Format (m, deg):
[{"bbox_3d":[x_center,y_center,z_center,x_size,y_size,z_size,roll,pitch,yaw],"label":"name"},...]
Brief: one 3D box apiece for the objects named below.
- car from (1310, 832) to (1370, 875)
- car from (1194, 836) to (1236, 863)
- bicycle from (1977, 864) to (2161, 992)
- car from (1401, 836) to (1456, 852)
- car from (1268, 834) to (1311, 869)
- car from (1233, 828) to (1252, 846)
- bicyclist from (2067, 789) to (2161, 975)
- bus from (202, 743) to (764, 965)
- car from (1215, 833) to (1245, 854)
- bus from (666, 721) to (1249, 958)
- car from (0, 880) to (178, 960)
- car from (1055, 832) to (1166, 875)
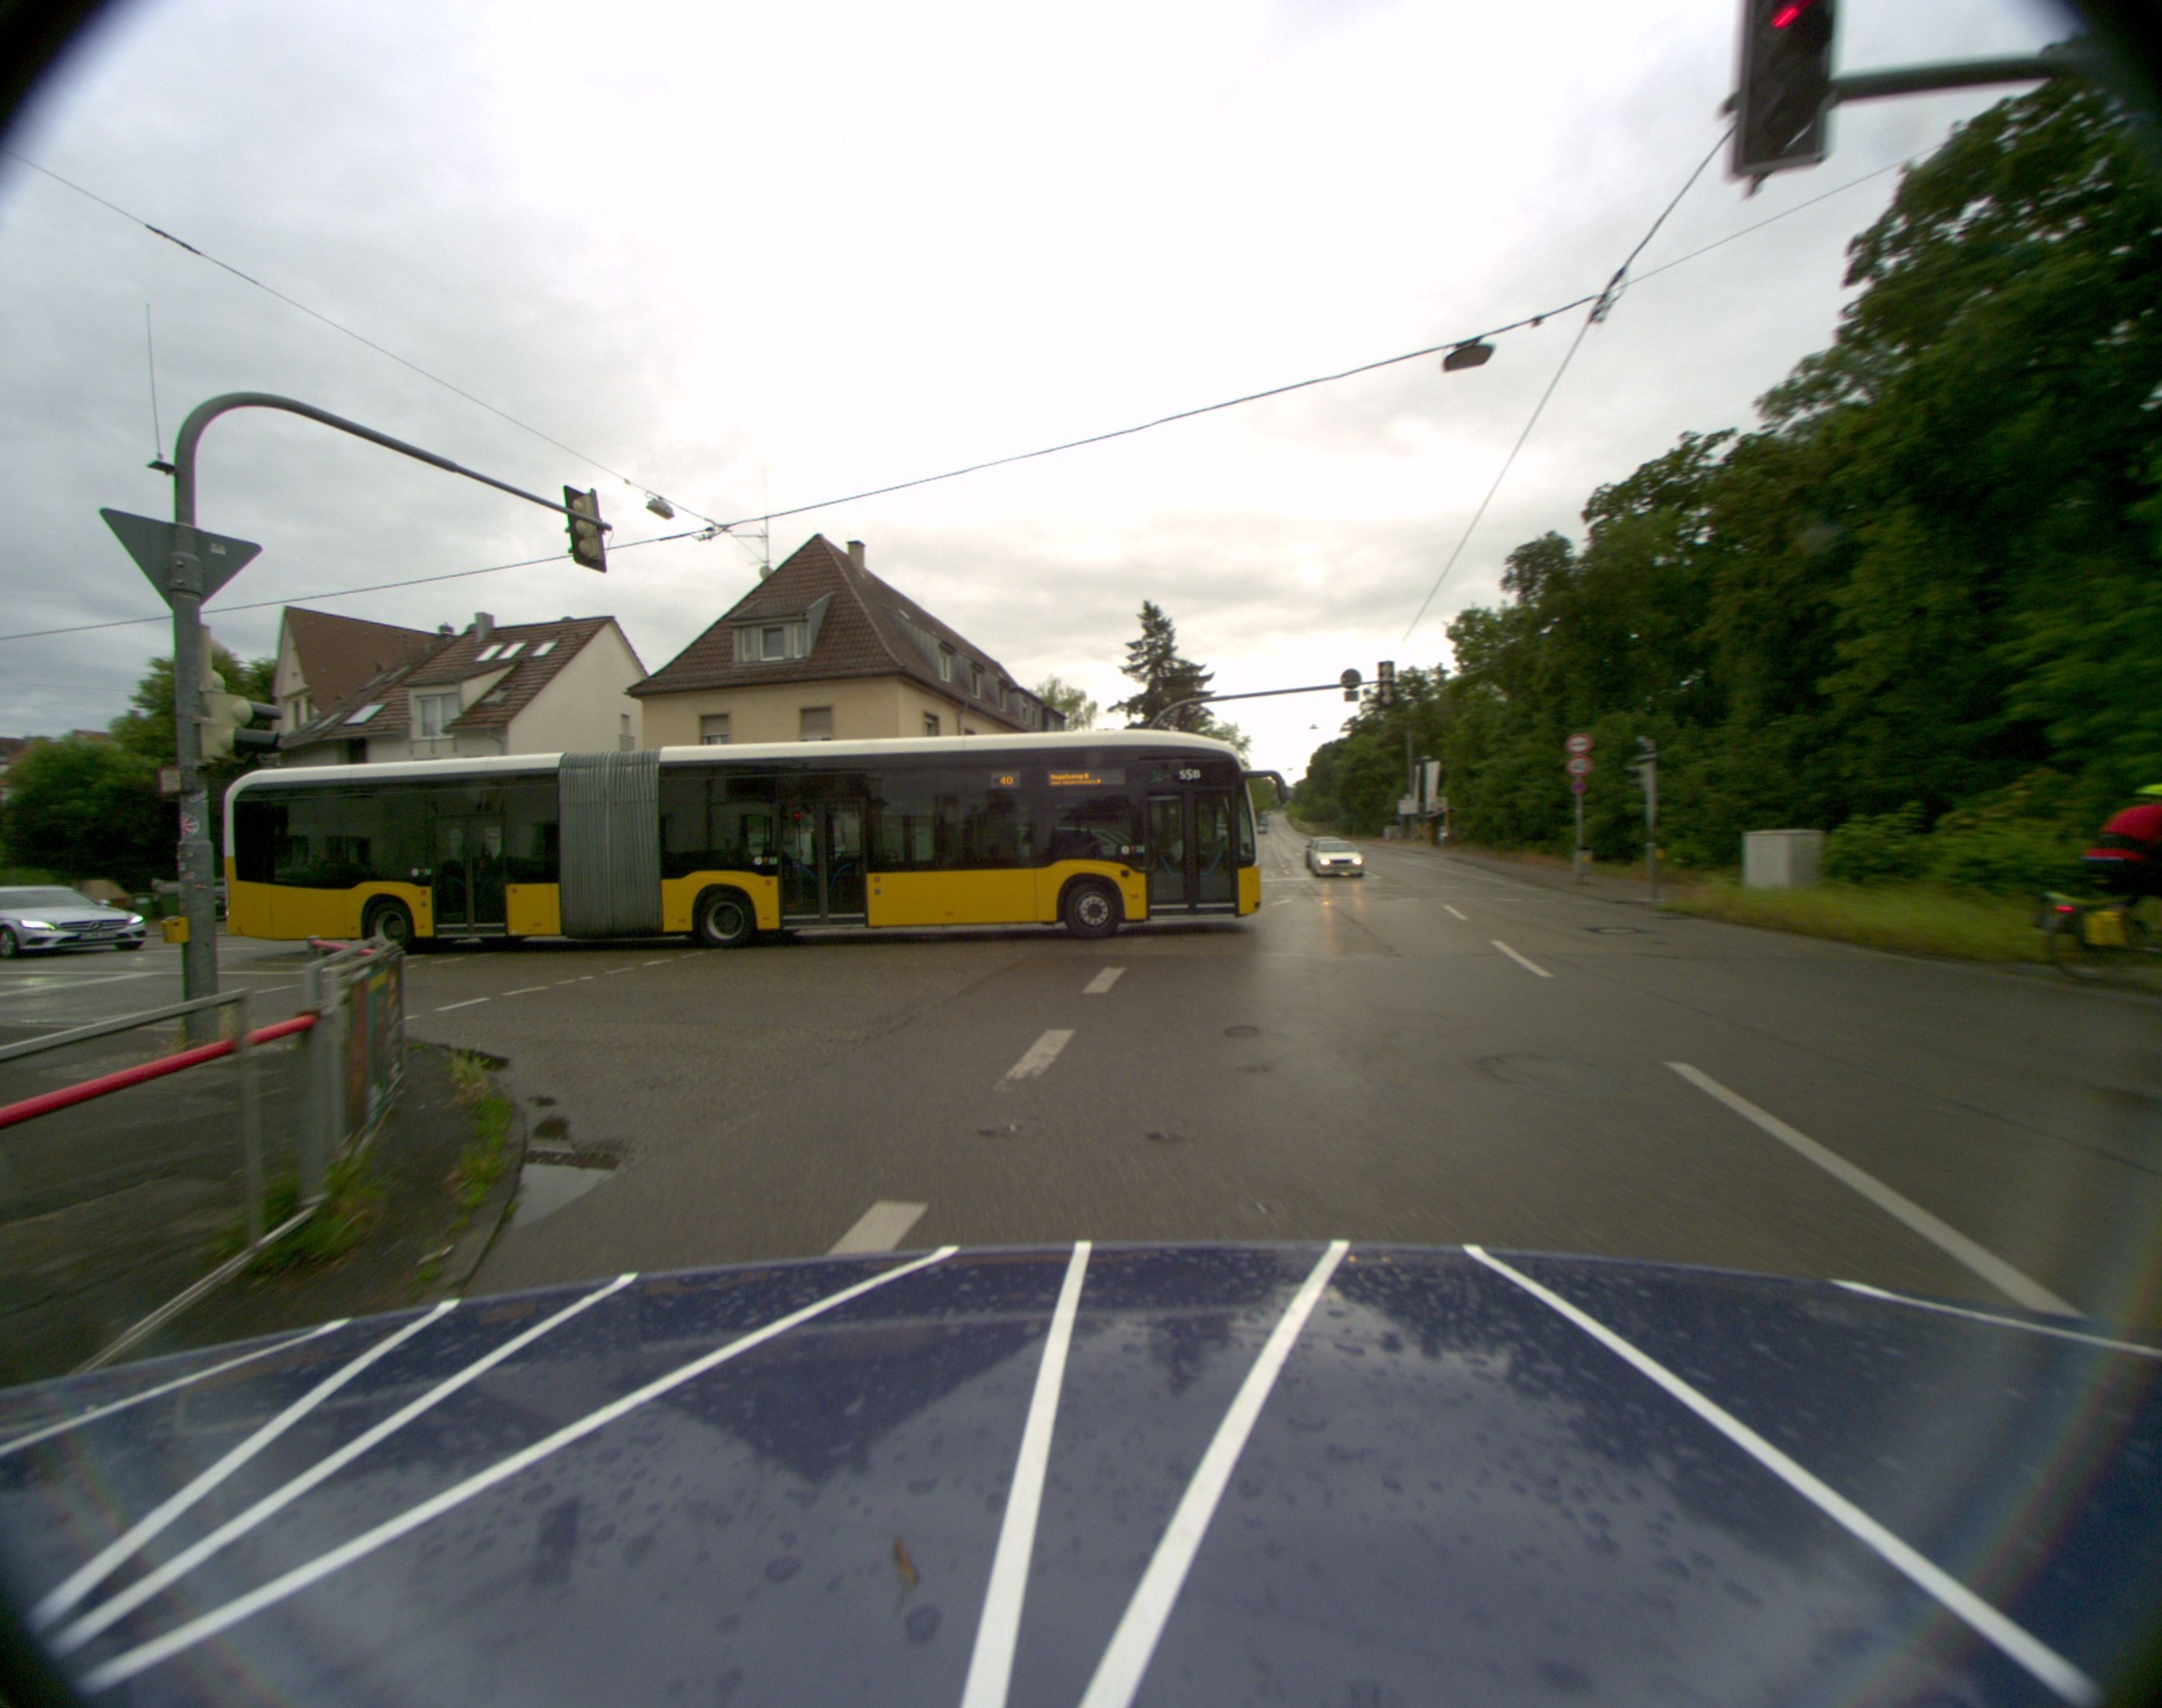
[{"bbox_3d":[9.495,-0.080,28.107,1.822,1.347,4.002,-1,3,15],"label":"car"},{"bbox_3d":[7.653,-0.282,43.204,2.000,1.347,4.002,-1,3,15],"label":"car"},{"bbox_3d":[9.811,0.660,6.918,2.150,1.090,0.581,-2,2,18],"label":"bicycle"},{"bbox_3d":[29.536,-0.859,64.676,3.993,1.193,1.607,-1,2,13],"label":"car"},{"bbox_3d":[9.678,-0.156,35.327,1.822,1.347,4.002,-1,3,15],"label":"car"},{"bbox_3d":[18.491,-1.919,86.951,2.000,1.871,4.002,-1,3,14],"label":"car"},{"bbox_3d":[9.896,0.229,6.864,1.046,1.643,0.581,-2,3,18],"label":"bicyclist"},{"bbox_3d":[-10.638,0.076,13.866,8.668,3.379,2.687,-2,1,8],"label":"bus"},{"bbox_3d":[11.221,-0.795,57.077,2.000,1.347,4.002,-1,3,15],"label":"car"},{"bbox_3d":[-1.921,-0.205,13.282,9.032,3.379,2.909,-2,1,2],"label":"bus"},{"bbox_3d":[-22.324,1.402,16.382,4.477,1.471,2.002,-2,0,17],"label":"car"},{"bbox_3d":[1.511,-0.034,38.331,5.172,2.003,2.001,-1,2,16],"label":"car"}]
